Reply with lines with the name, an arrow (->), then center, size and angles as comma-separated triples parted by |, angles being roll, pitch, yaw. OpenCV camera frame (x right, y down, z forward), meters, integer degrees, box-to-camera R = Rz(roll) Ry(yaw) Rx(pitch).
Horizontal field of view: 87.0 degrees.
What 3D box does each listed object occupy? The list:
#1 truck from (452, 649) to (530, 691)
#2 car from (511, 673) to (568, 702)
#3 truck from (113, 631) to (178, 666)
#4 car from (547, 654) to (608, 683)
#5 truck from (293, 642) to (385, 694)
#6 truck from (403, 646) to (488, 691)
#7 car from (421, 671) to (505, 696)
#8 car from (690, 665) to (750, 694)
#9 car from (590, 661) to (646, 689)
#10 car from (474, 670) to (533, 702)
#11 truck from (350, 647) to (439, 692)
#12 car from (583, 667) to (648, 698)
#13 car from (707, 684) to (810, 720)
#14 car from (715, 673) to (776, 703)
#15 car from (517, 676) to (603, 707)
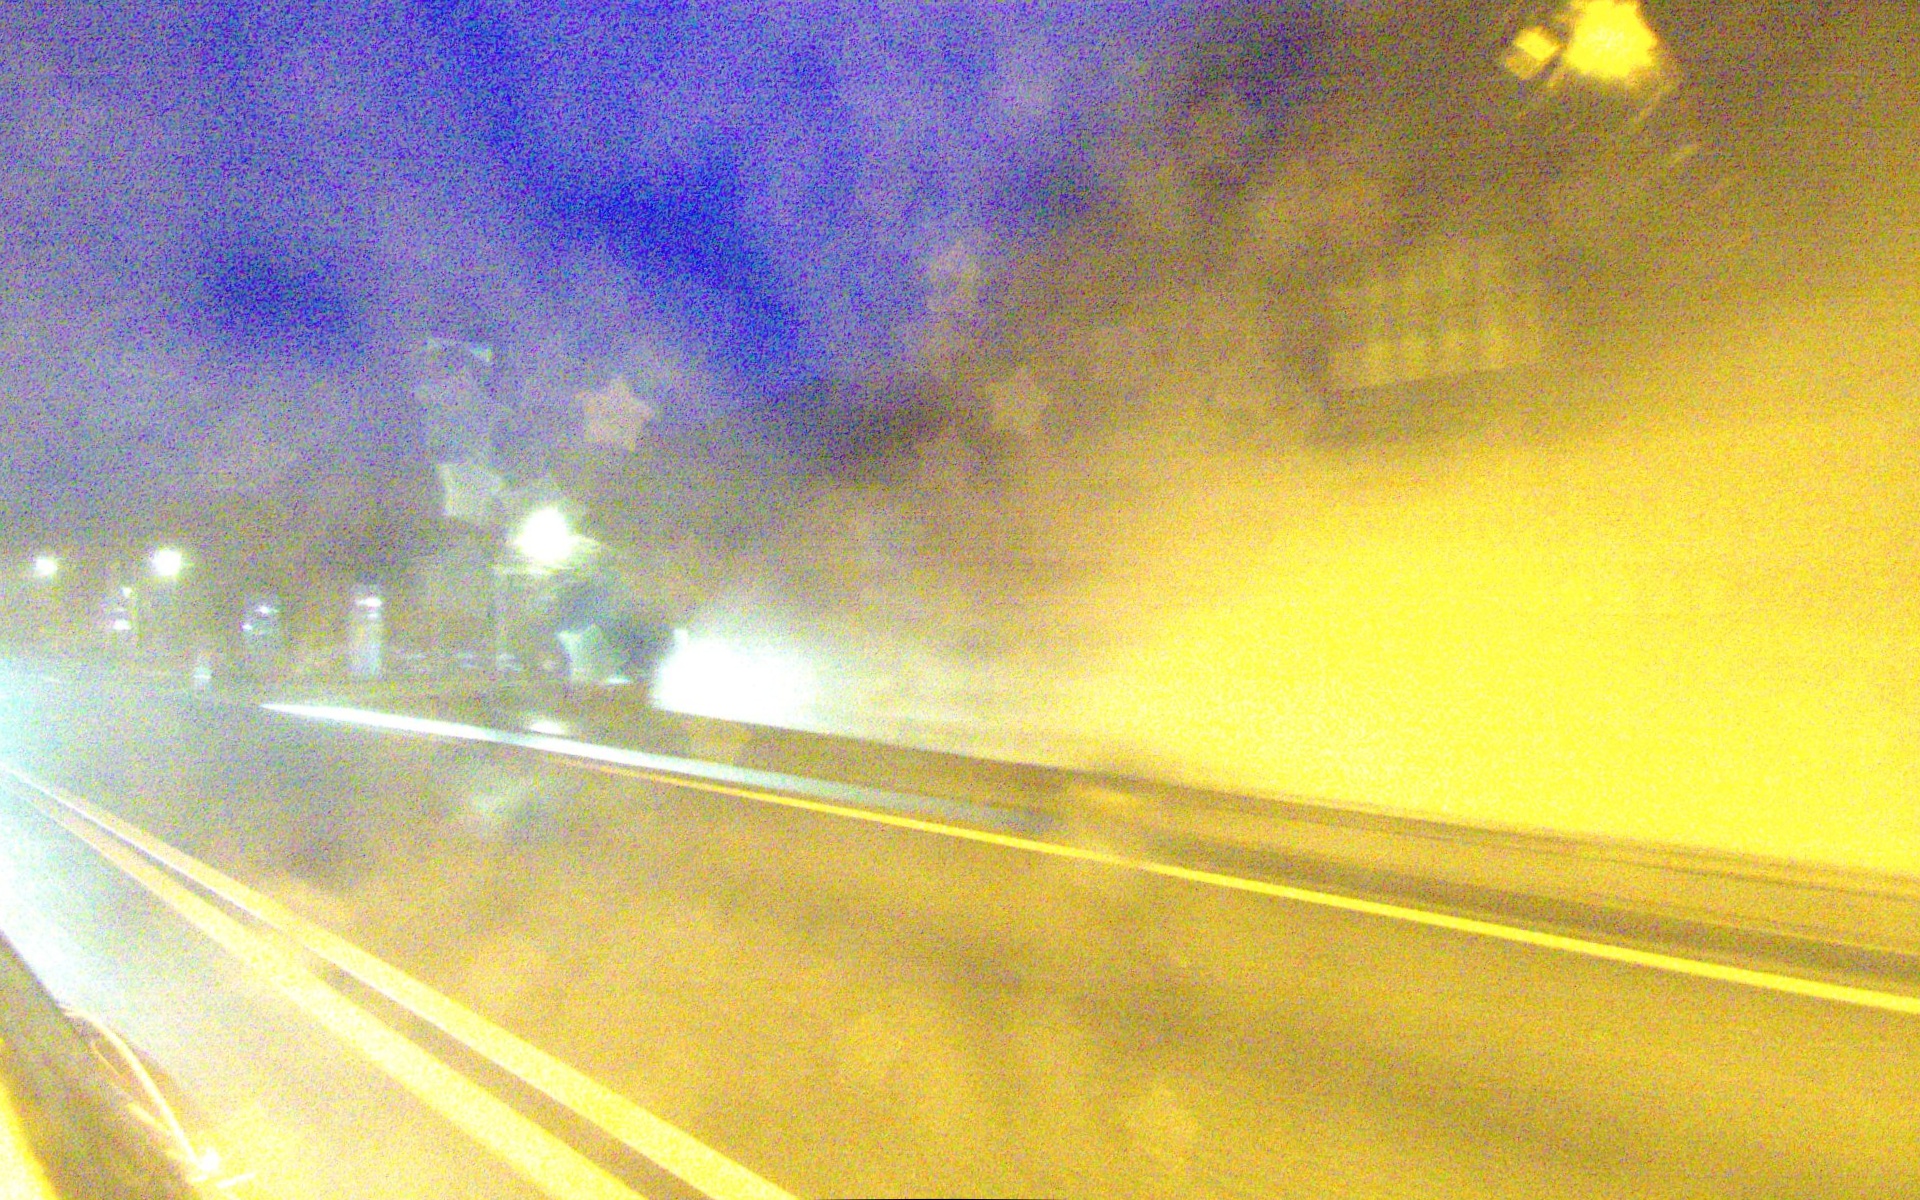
truck -> -40.869, 6.064, 88.196 | 6.534, 3.285, 2.420 | 1, -6, 27
car -> -29.849, 6.191, 71.866 | 3.701, 1.921, 1.708 | -1, -1, 25
truck -> -66.107, 3.913, 82.098 | 6.856, 2.538, 2.148 | 0, -6, 36
car -> -24.799, 4.404, 65.702 | 1.978, 1.652, 3.988 | -1, -1, 9
truck -> -46.591, 5.098, 75.873 | 7.020, 3.506, 2.450 | 1, -6, 28
truck -> -42.954, 5.697, 84.468 | 7.017, 3.285, 2.420 | 1, -6, 27
car -> -29.038, 4.909, 59.218 | 1.841, 1.210, 3.957 | 0, -6, 32
car -> -17.440, 5.825, 73.819 | 1.926, 1.870, 3.957 | 0, -6, 32
car -> -26.494, 5.763, 78.399 | 3.974, 2.029, 1.726 | -1, -1, 23
car -> -31.037, 5.816, 68.787 | 3.701, 1.921, 1.708 | -1, -1, 25
truck -> -44.736, 5.478, 80.008 | 7.017, 3.121, 2.420 | 1, -6, 27
car -> -21.698, 5.191, 63.886 | 1.983, 1.652, 3.977 | -1, -1, 17
car -> -10.434, 5.279, 52.602 | 4.807, 1.579, 1.991 | 1, -5, 14
car -> -15.332, 6.304, 72.377 | 1.993, 1.870, 3.957 | 0, -6, 32
car -> -21.892, 5.025, 55.506 | 1.905, 1.466, 3.957 | 0, -6, 32
